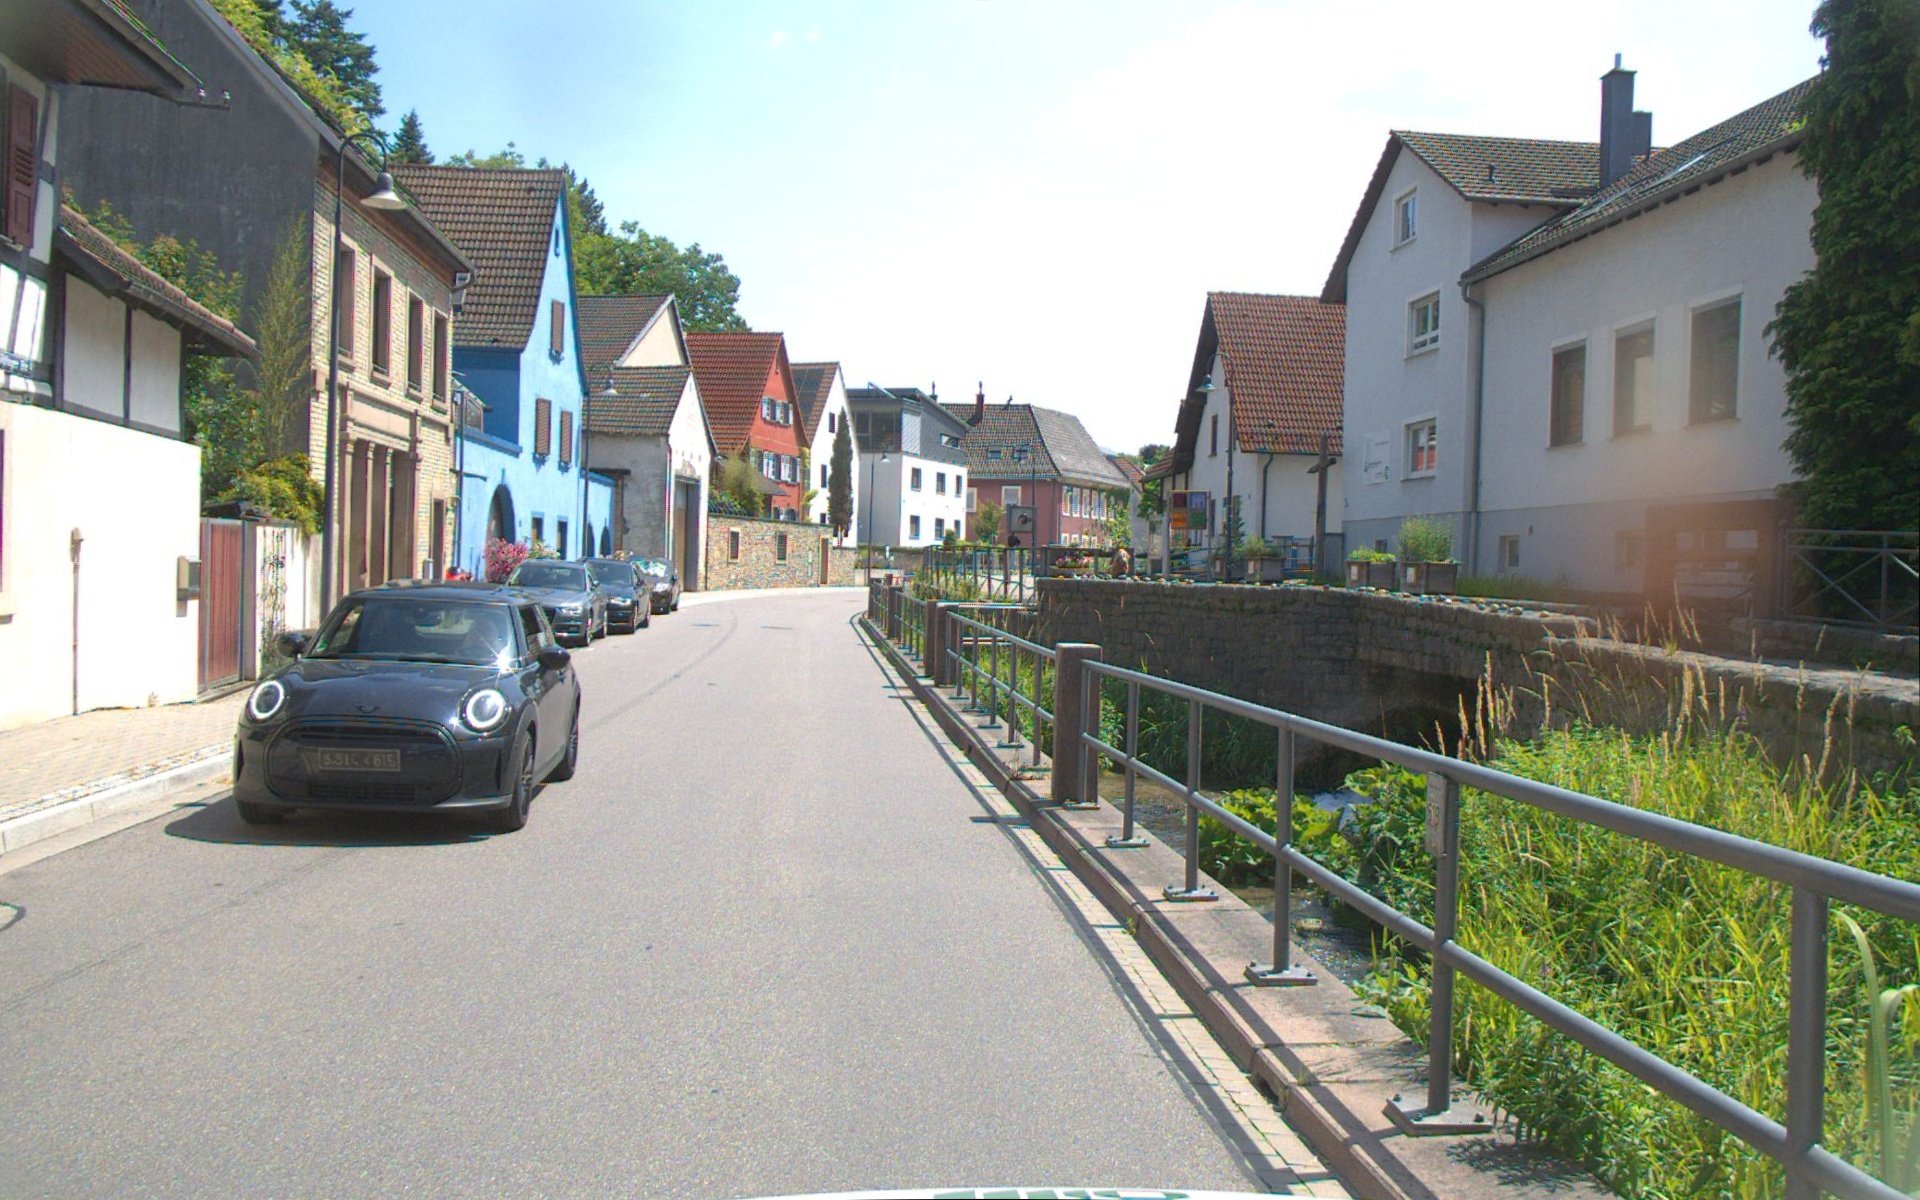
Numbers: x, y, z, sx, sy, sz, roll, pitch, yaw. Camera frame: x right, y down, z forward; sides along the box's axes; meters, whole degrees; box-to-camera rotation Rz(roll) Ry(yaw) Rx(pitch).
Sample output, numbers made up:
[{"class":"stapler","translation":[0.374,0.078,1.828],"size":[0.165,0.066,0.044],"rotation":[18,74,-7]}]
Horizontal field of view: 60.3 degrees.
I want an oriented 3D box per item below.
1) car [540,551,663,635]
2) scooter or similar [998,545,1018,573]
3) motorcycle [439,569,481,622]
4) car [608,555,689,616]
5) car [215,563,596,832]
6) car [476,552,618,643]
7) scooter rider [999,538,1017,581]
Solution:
[{"class":"car","translation":[-7.622,-0.209,35.569],"size":[1.848,1.489,4.665],"rotation":[5,2,-4]},{"class":"scooter or similar","translation":[1.998,-1.727,69.325],"size":[0.629,1.162,1.810],"rotation":[0,1,-5]},{"class":"motorcycle","translation":[-10.147,-0.101,33.632],"size":[0.410,1.018,1.856],"rotation":[6,0,-7]},{"class":"car","translation":[-8.623,-0.441,46.002],"size":[1.683,1.556,3.855],"rotation":[1,2,-3]},{"class":"car","translation":[-3.576,0.535,11.455],"size":[1.667,1.491,4.427],"rotation":[1,0,-8]},{"class":"car","translation":[-7.550,-0.076,30.624],"size":[1.919,1.491,4.539],"rotation":[2,0,-7]},{"class":"scooter rider","translation":[2.021,-1.693,69.436],"size":[0.629,1.762,0.554],"rotation":[2,1,-5]}]
